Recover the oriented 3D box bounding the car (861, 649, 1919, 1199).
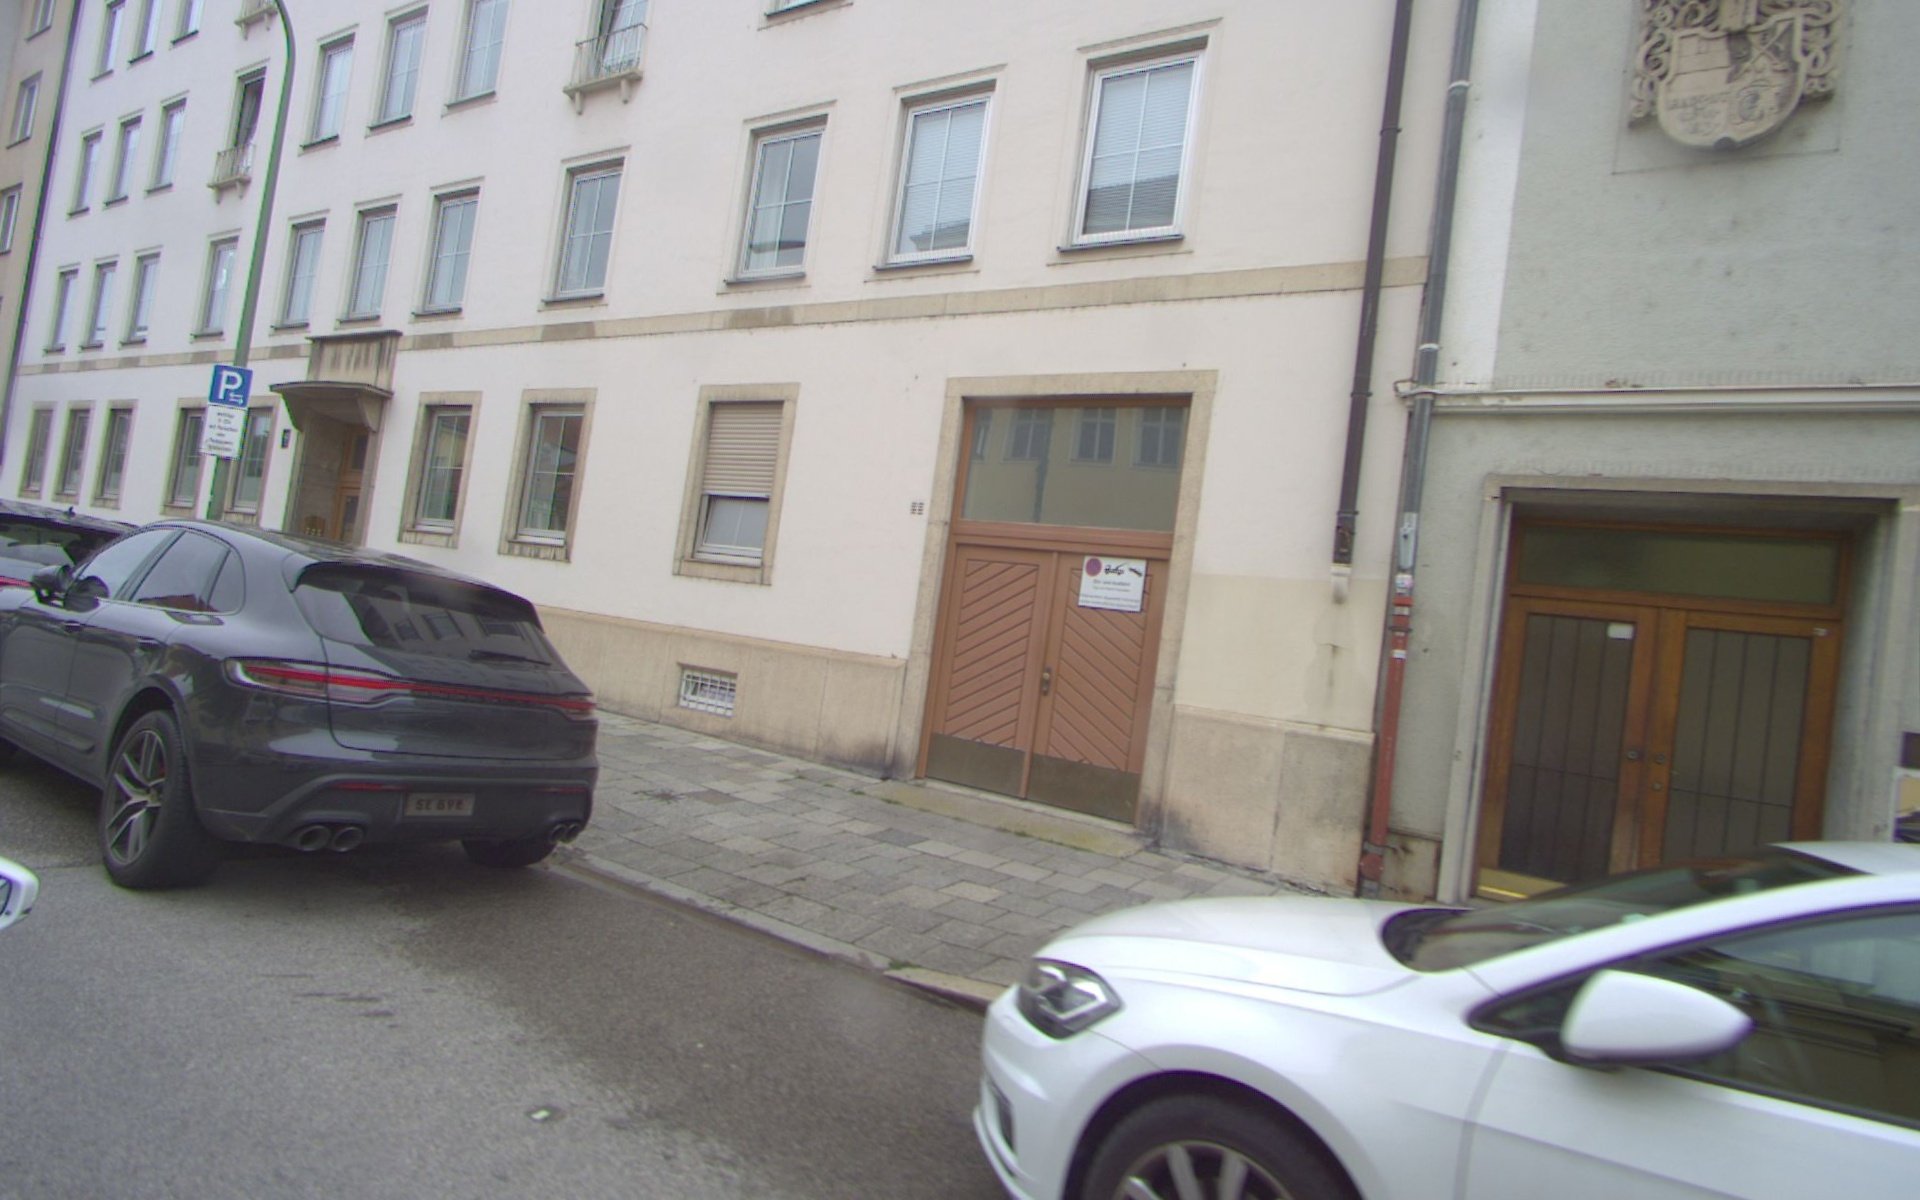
[{"bbox_3d":[1.967,1.180,2.217,4.016,1.478,1.698,7,-5,32],"label":"car"}]

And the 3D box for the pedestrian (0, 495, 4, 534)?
[{"bbox_3d":[-18.392,-1.206,18.794,0.551,1.604,0.532,7,0,31],"label":"pedestrian"}]

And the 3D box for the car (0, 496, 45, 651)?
[{"bbox_3d":[-12.103,-0.581,10.893,4.735,1.562,1.860,7,-2,31],"label":"car"}]

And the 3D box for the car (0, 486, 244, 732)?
[{"bbox_3d":[-8.007,-0.093,8.295,4.201,1.601,1.784,7,-4,32],"label":"car"}]

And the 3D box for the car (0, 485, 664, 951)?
[{"bbox_3d":[-3.891,0.409,5.609,4.259,1.601,1.783,7,-4,33],"label":"car"}]

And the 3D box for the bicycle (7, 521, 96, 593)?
[{"bbox_3d":[-17.720,-0.849,19.619,1.994,1.177,0.660,7,-1,32],"label":"bicycle"}]
